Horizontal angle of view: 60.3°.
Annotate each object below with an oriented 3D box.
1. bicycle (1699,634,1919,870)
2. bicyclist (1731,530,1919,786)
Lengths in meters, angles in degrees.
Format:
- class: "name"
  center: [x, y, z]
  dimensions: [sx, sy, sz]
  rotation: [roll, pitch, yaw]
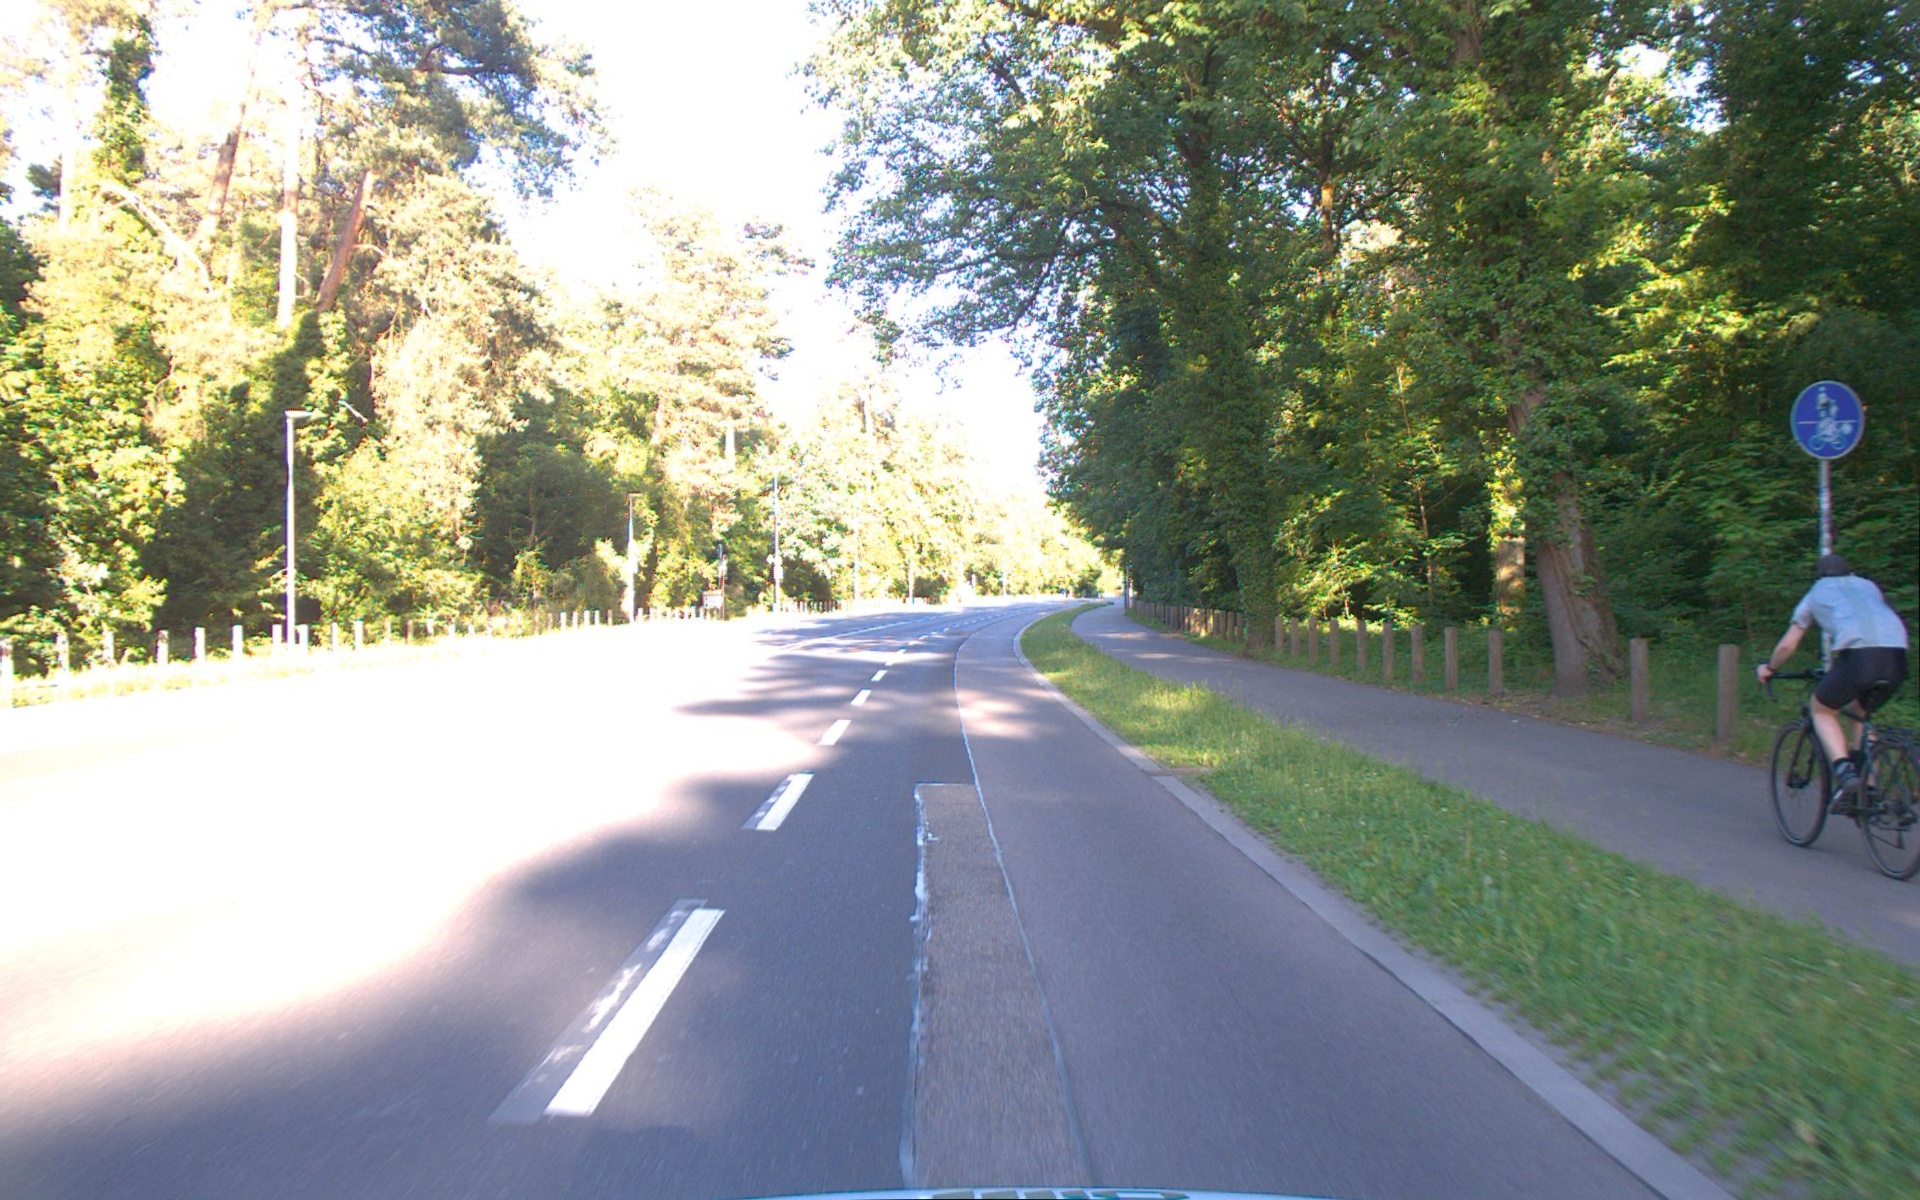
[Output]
- class: "bicycle"
  center: [4.824, 0.749, 8.971]
  dimensions: [0.697, 1.074, 2.053]
  rotation: [0, 0, 0]
- class: "bicyclist"
  center: [4.824, 0.292, 9.036]
  dimensions: [0.697, 1.311, 1.104]
  rotation: [0, 0, -1]
